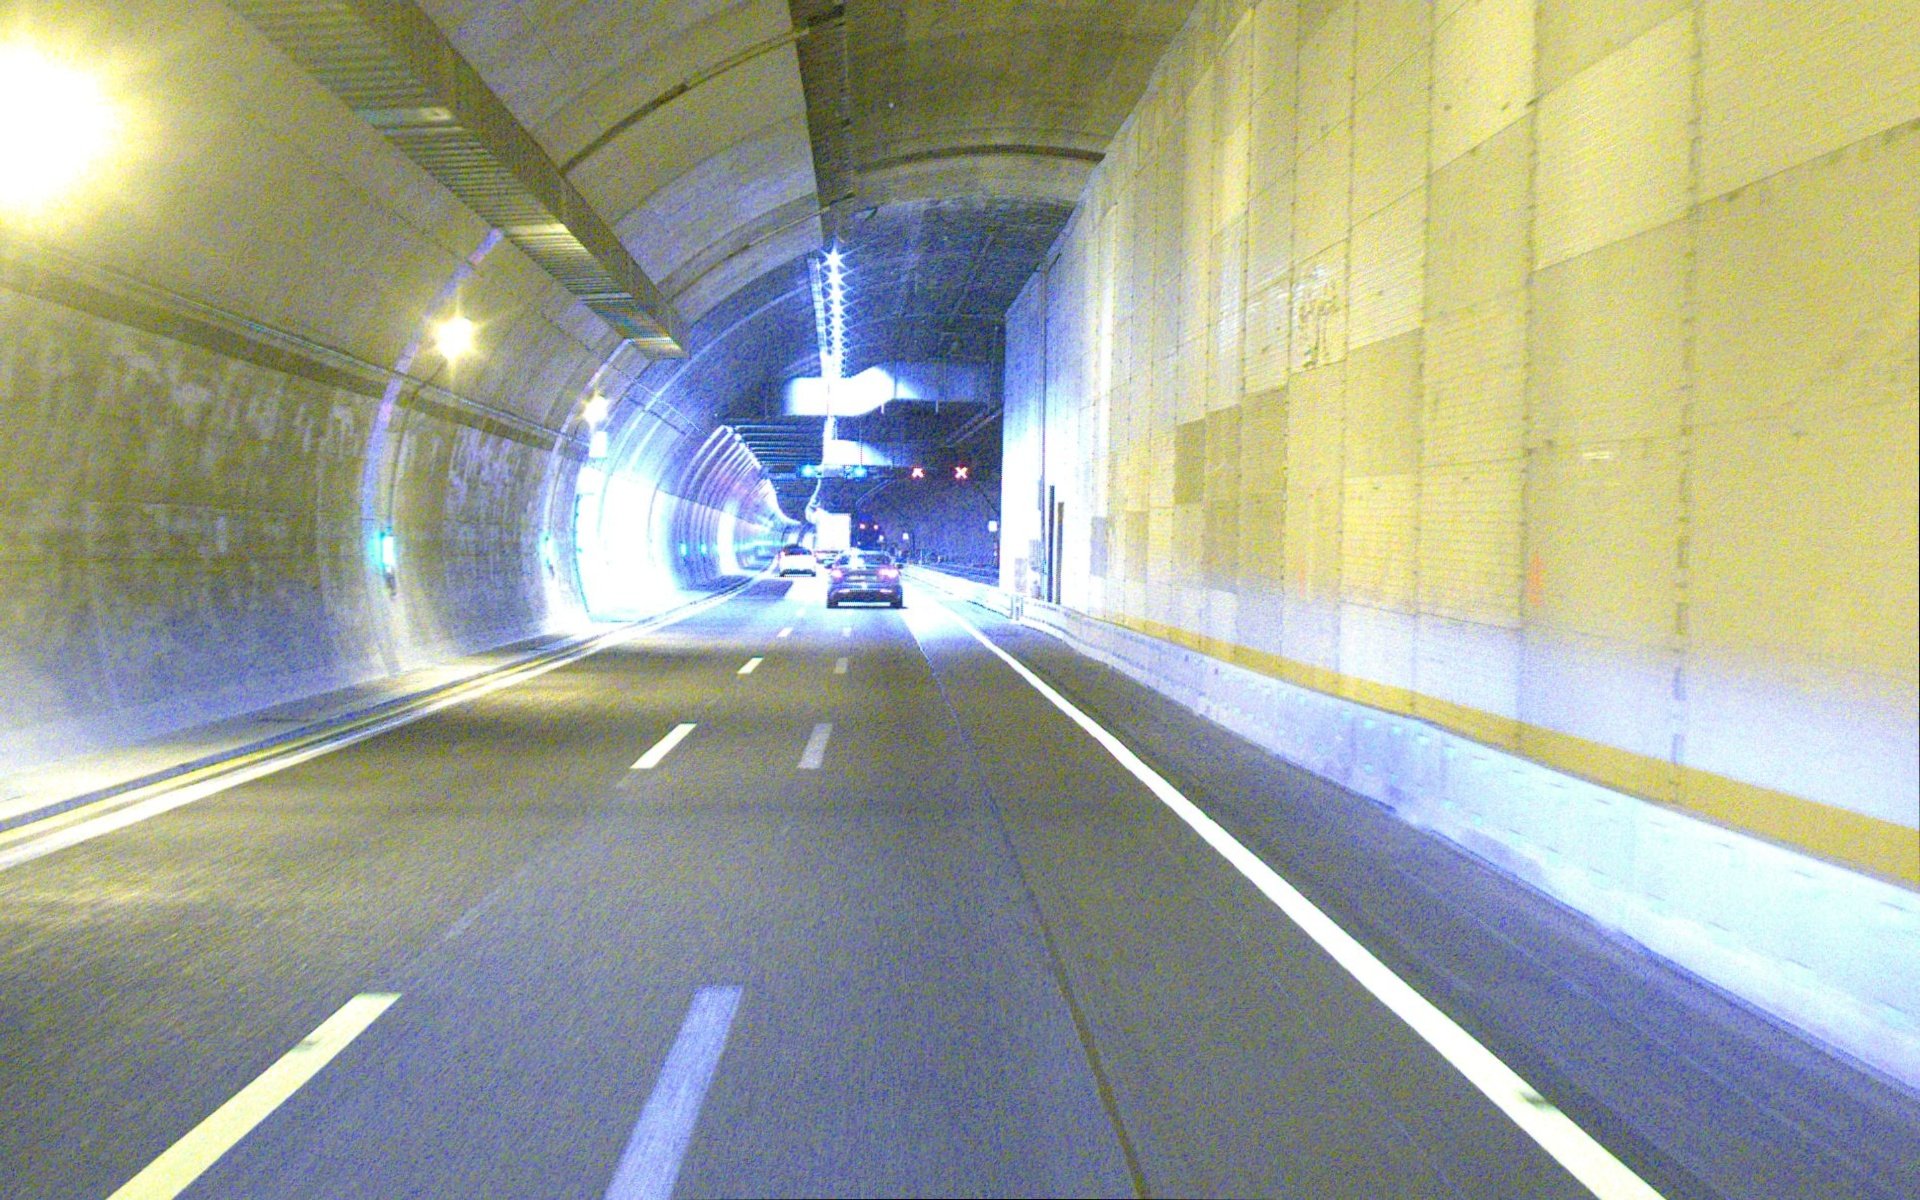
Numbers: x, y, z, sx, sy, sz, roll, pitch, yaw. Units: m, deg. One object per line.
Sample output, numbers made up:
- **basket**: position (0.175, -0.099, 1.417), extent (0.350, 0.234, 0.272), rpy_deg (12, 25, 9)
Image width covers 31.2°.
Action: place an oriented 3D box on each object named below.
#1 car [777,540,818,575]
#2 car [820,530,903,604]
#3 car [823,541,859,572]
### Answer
- **car**: position (-8.039, -2.093, 169.866), extent (1.930, 1.681, 4.001), rpy_deg (-1, 1, -4)
- **car**: position (-2.441, -0.846, 85.782), extent (1.947, 1.788, 4.000), rpy_deg (-1, 1, 0)
- **car**: position (-6.631, -2.425, 191.496), extent (1.930, 1.681, 4.000), rpy_deg (-1, 1, -1)
